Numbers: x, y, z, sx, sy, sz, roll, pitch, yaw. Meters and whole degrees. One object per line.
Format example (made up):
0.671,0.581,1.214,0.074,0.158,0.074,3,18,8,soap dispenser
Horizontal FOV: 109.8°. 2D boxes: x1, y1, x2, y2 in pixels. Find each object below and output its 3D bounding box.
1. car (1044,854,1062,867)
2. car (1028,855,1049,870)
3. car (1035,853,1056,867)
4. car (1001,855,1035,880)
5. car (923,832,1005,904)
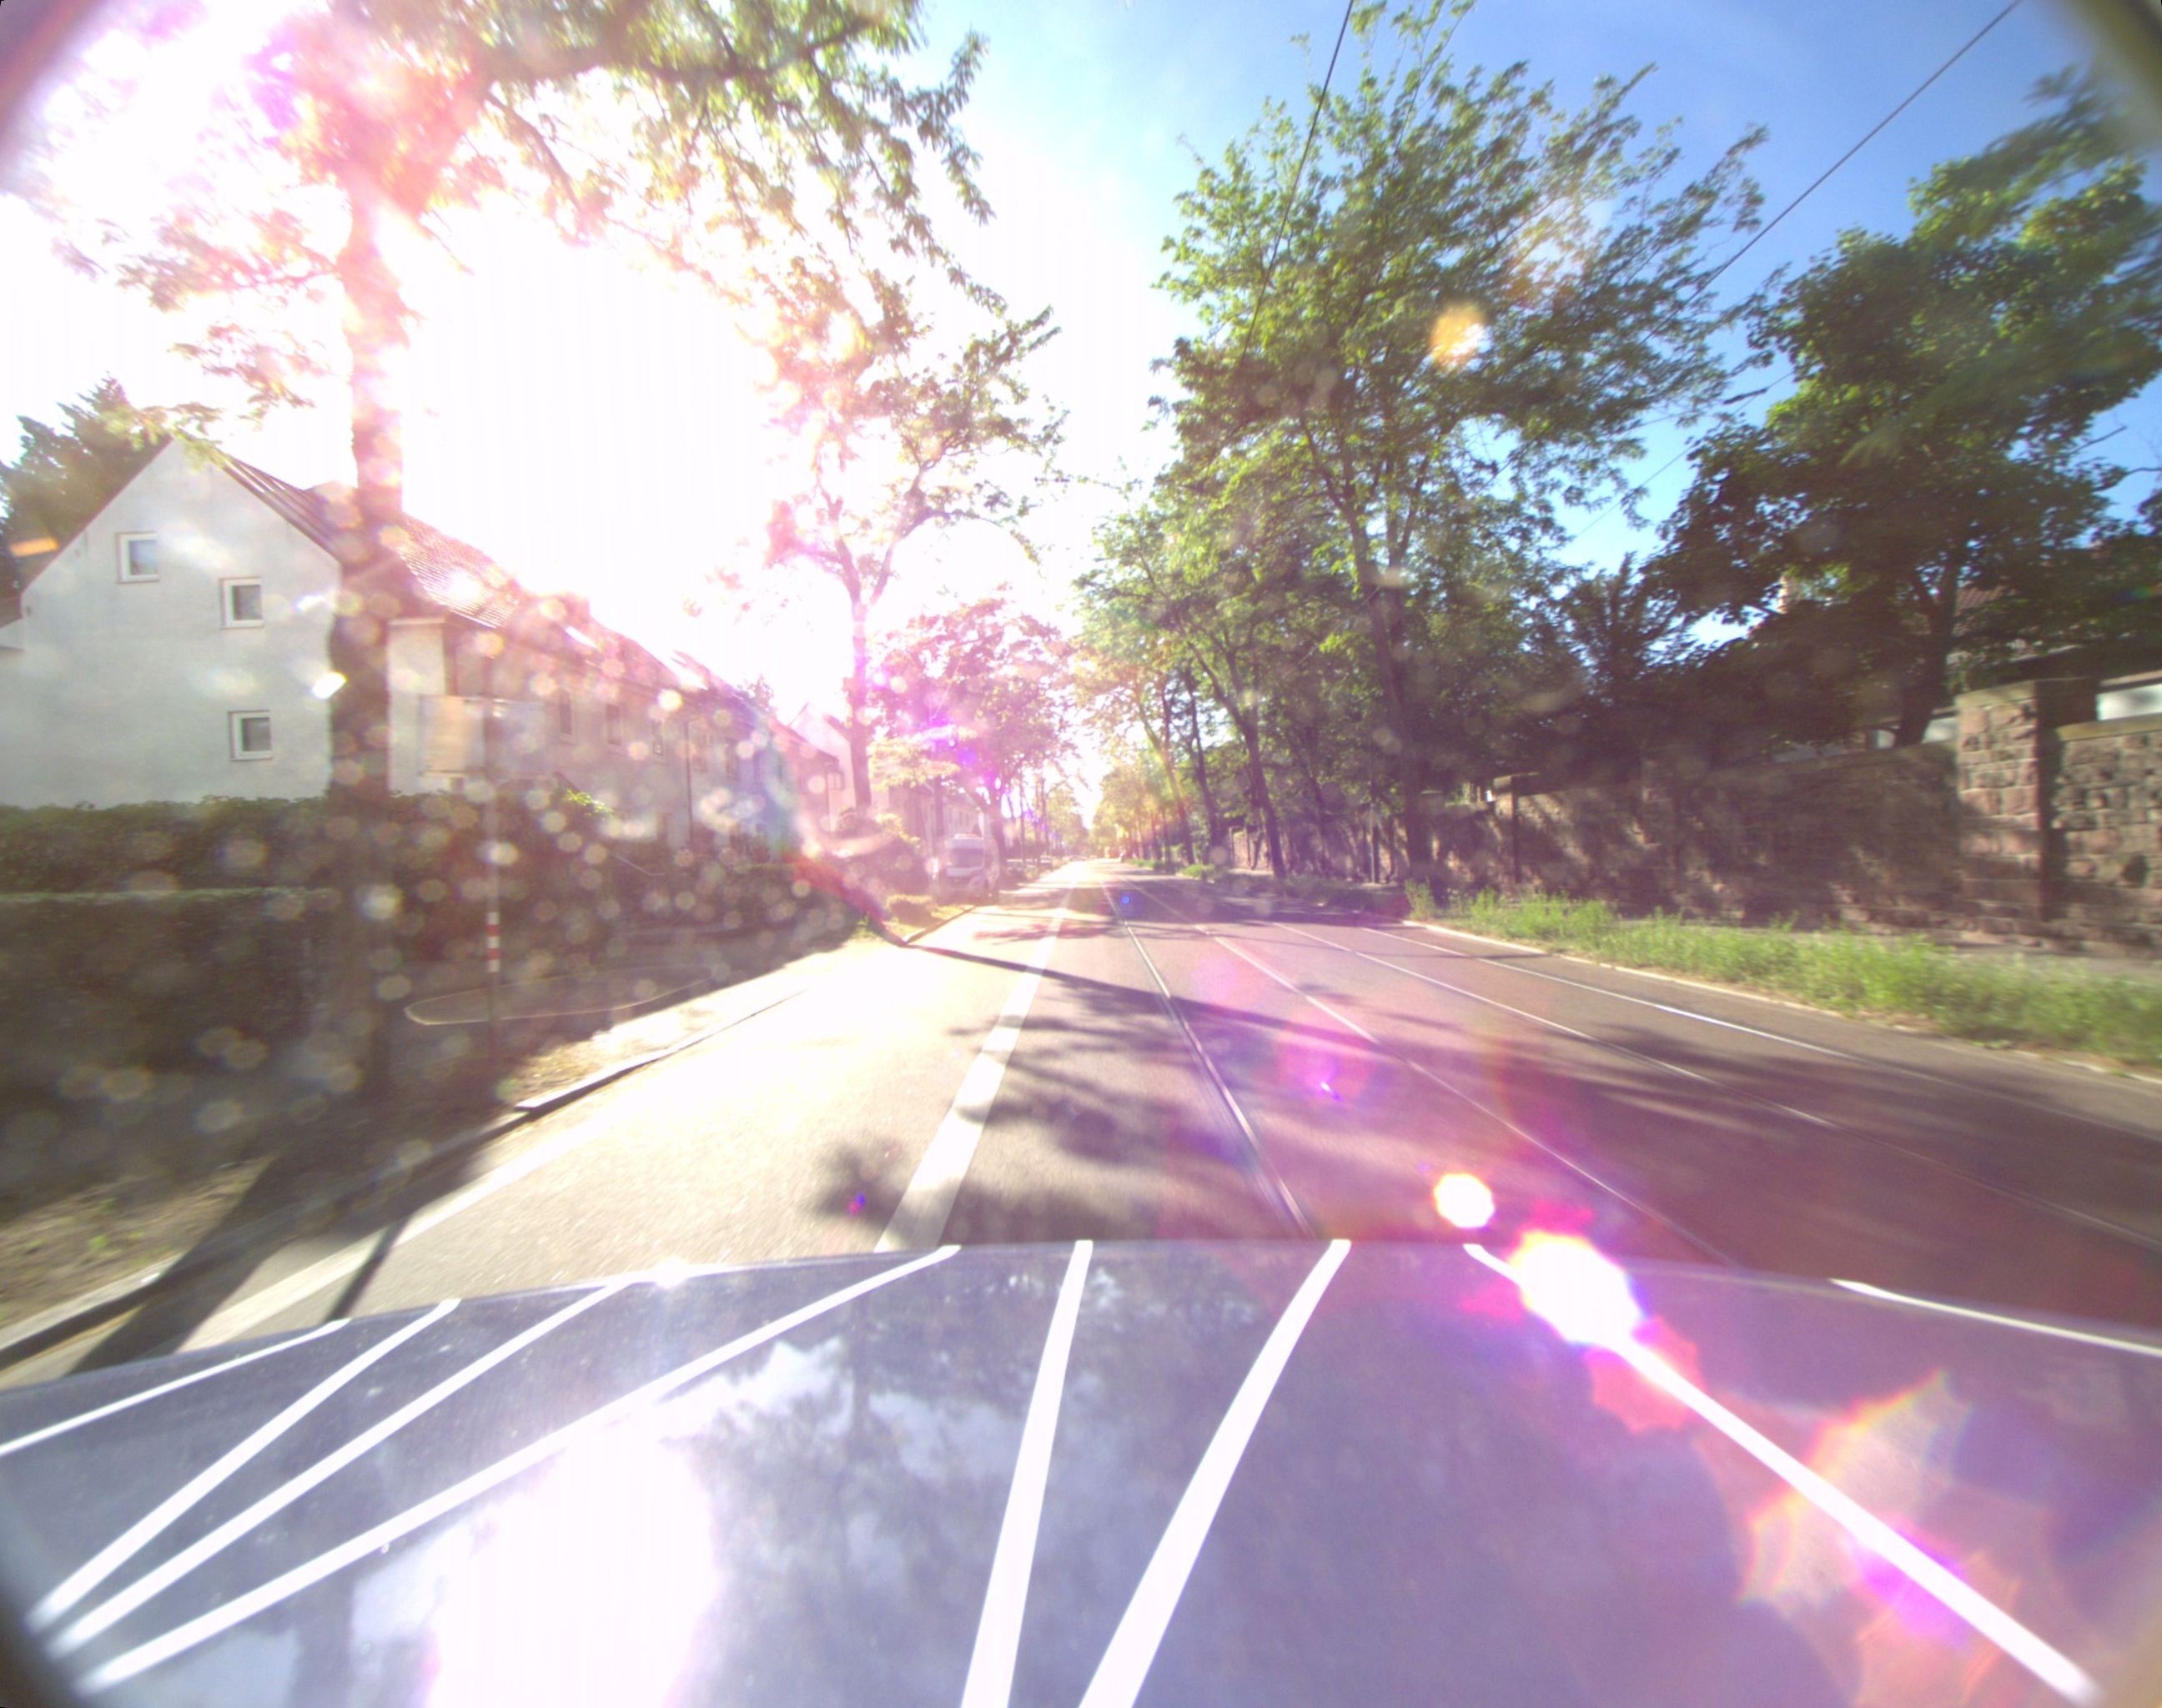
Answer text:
-3.586,0.789,97.928,1.998,1.411,3.998,-2,3,1,car
-4.303,0.868,76.553,1.788,1.369,3.654,-3,1,1,car
-3.995,0.666,85.958,1.998,1.474,4.000,-2,0,1,car
-4.332,0.885,52.457,1.663,1.527,4.001,-2,0,5,car
-4.621,0.471,30.995,2.297,2.575,5.718,-3,1,1,car
